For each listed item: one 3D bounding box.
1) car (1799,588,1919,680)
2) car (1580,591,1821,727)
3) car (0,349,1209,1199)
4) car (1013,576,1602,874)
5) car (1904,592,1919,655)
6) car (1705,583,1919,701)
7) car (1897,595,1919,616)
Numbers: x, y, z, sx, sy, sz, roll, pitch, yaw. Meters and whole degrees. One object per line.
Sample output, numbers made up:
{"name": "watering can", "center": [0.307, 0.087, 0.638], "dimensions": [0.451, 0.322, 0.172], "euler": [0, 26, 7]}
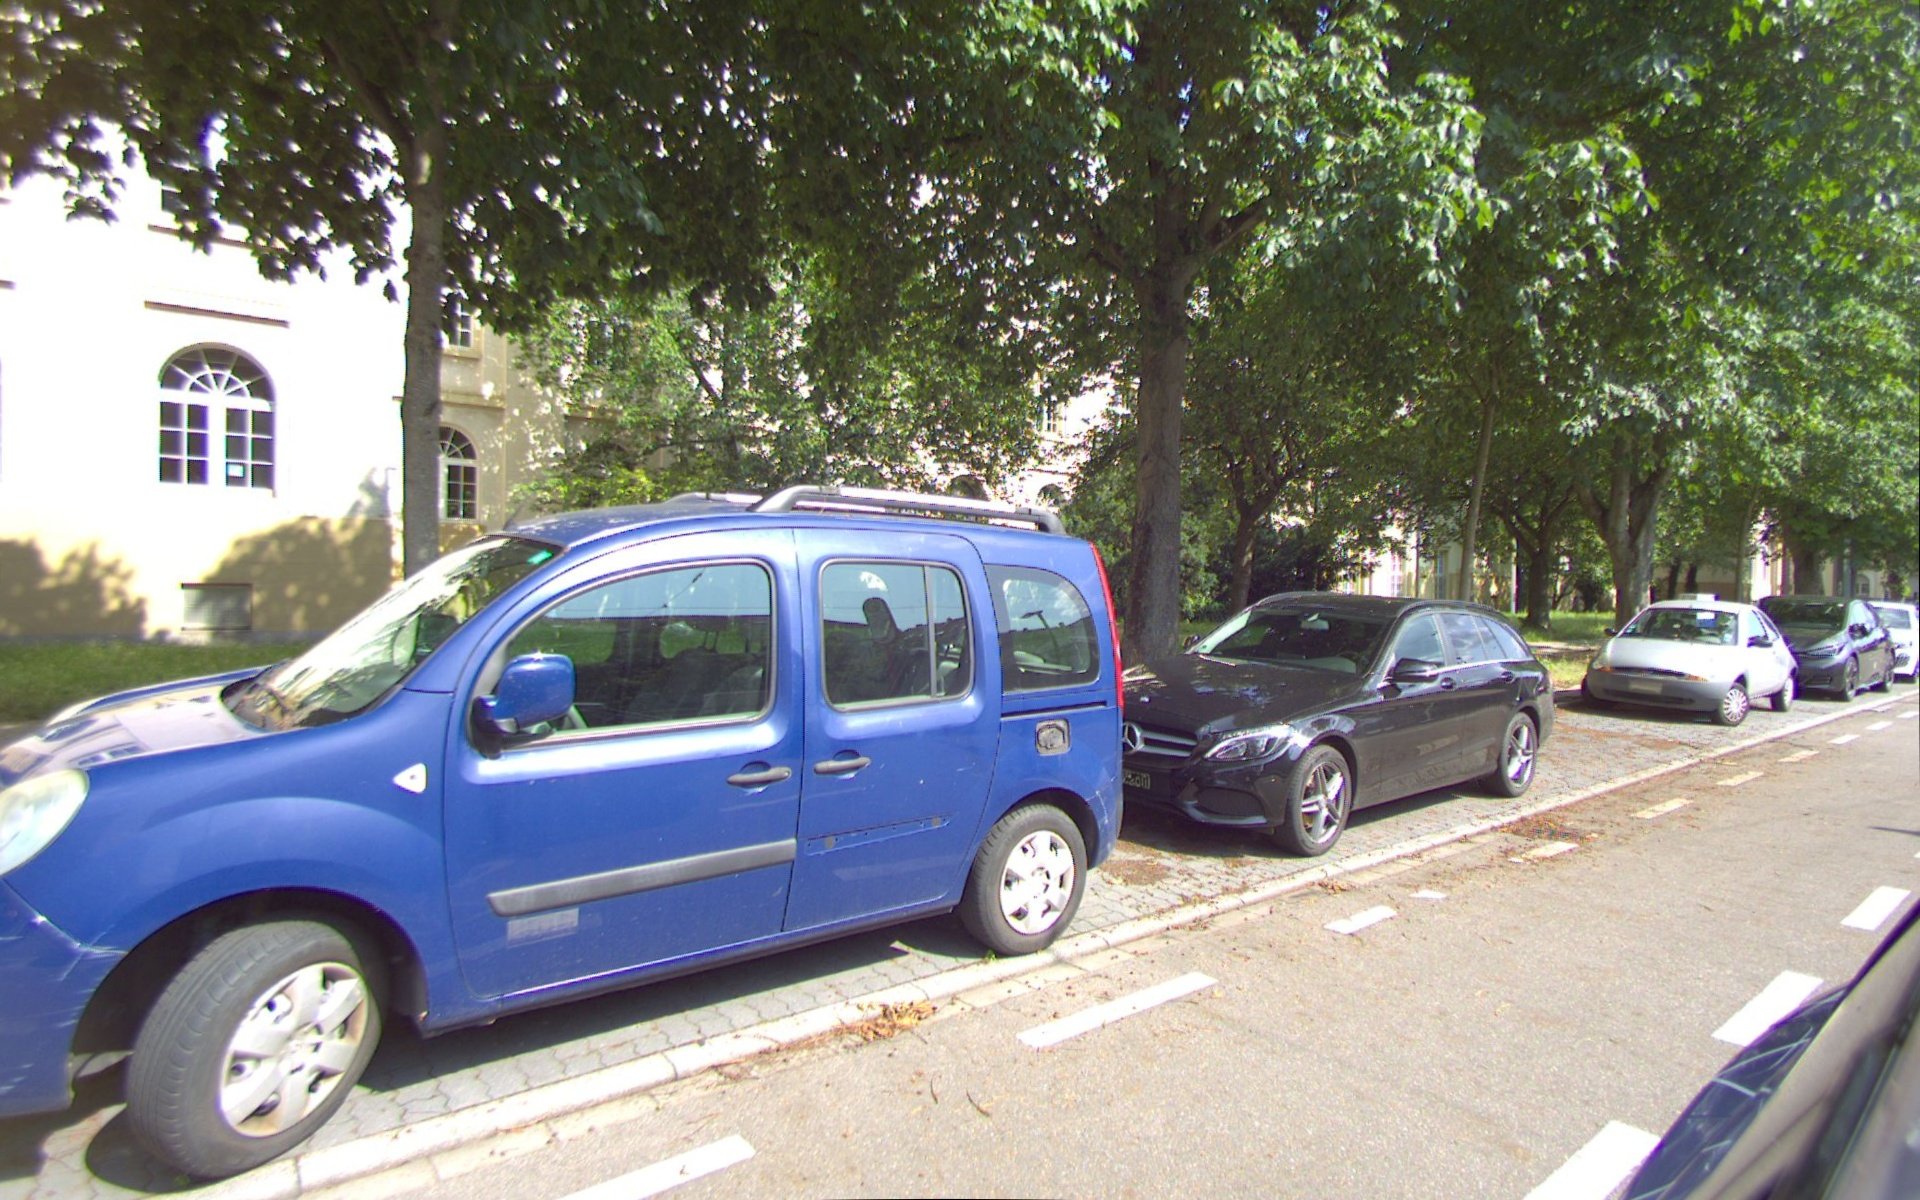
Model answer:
{"name": "car", "center": [18.093, 0.597, 19.838], "dimensions": [4.179, 1.542, 1.839], "euler": [0, 3, -41]}
{"name": "car", "center": [9.636, 0.647, 13.103], "dimensions": [3.532, 1.462, 1.595], "euler": [0, 3, -38]}
{"name": "car", "center": [-1.114, 0.412, 3.963], "dimensions": [4.106, 1.919, 1.828], "euler": [1, 2, -37]}
{"name": "car", "center": [2.796, 0.648, 7.501], "dimensions": [4.711, 1.459, 1.922], "euler": [0, 3, -40]}
{"name": "car", "center": [24.821, 0.608, 25.161], "dimensions": [3.497, 1.478, 1.559], "euler": [-1, 5, -41]}
{"name": "car", "center": [13.850, 0.581, 16.339], "dimensions": [4.591, 1.603, 1.730], "euler": [0, 2, -38]}
{"name": "car", "center": [77.702, 0.460, 80.150], "dimensions": [1.820, 1.676, 4.842], "euler": [-1, 2, -28]}
